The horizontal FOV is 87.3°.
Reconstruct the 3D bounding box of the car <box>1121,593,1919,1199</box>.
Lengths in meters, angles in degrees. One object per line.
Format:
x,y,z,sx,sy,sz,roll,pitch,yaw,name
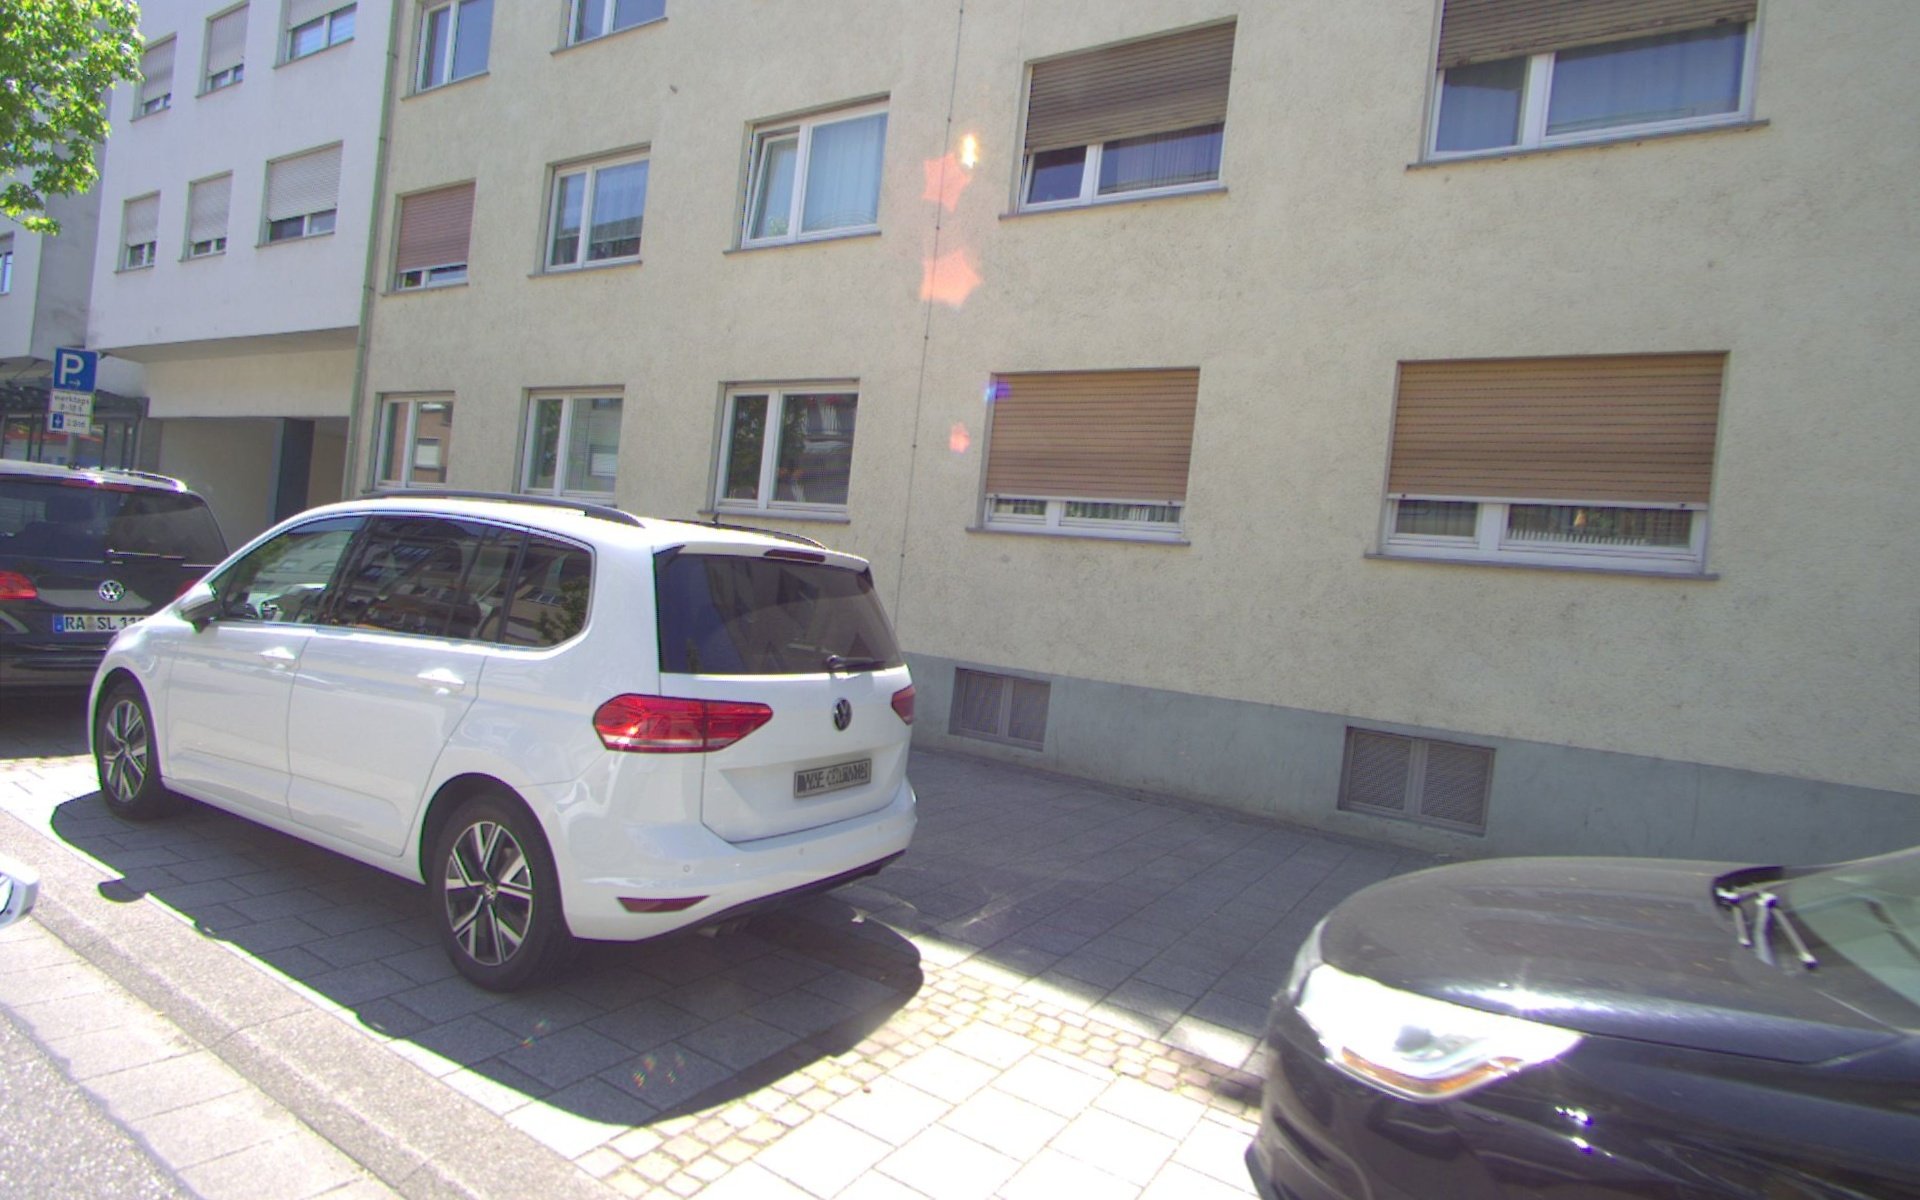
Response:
2.728,0.997,1.526,4.471,1.456,1.897,7,0,34,car

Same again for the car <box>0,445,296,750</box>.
-6.984,-0.210,7.175,4.459,1.696,1.857,7,2,29,car

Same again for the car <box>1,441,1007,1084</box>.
-2.329,0.320,4.761,4.610,1.696,1.898,7,2,29,car
